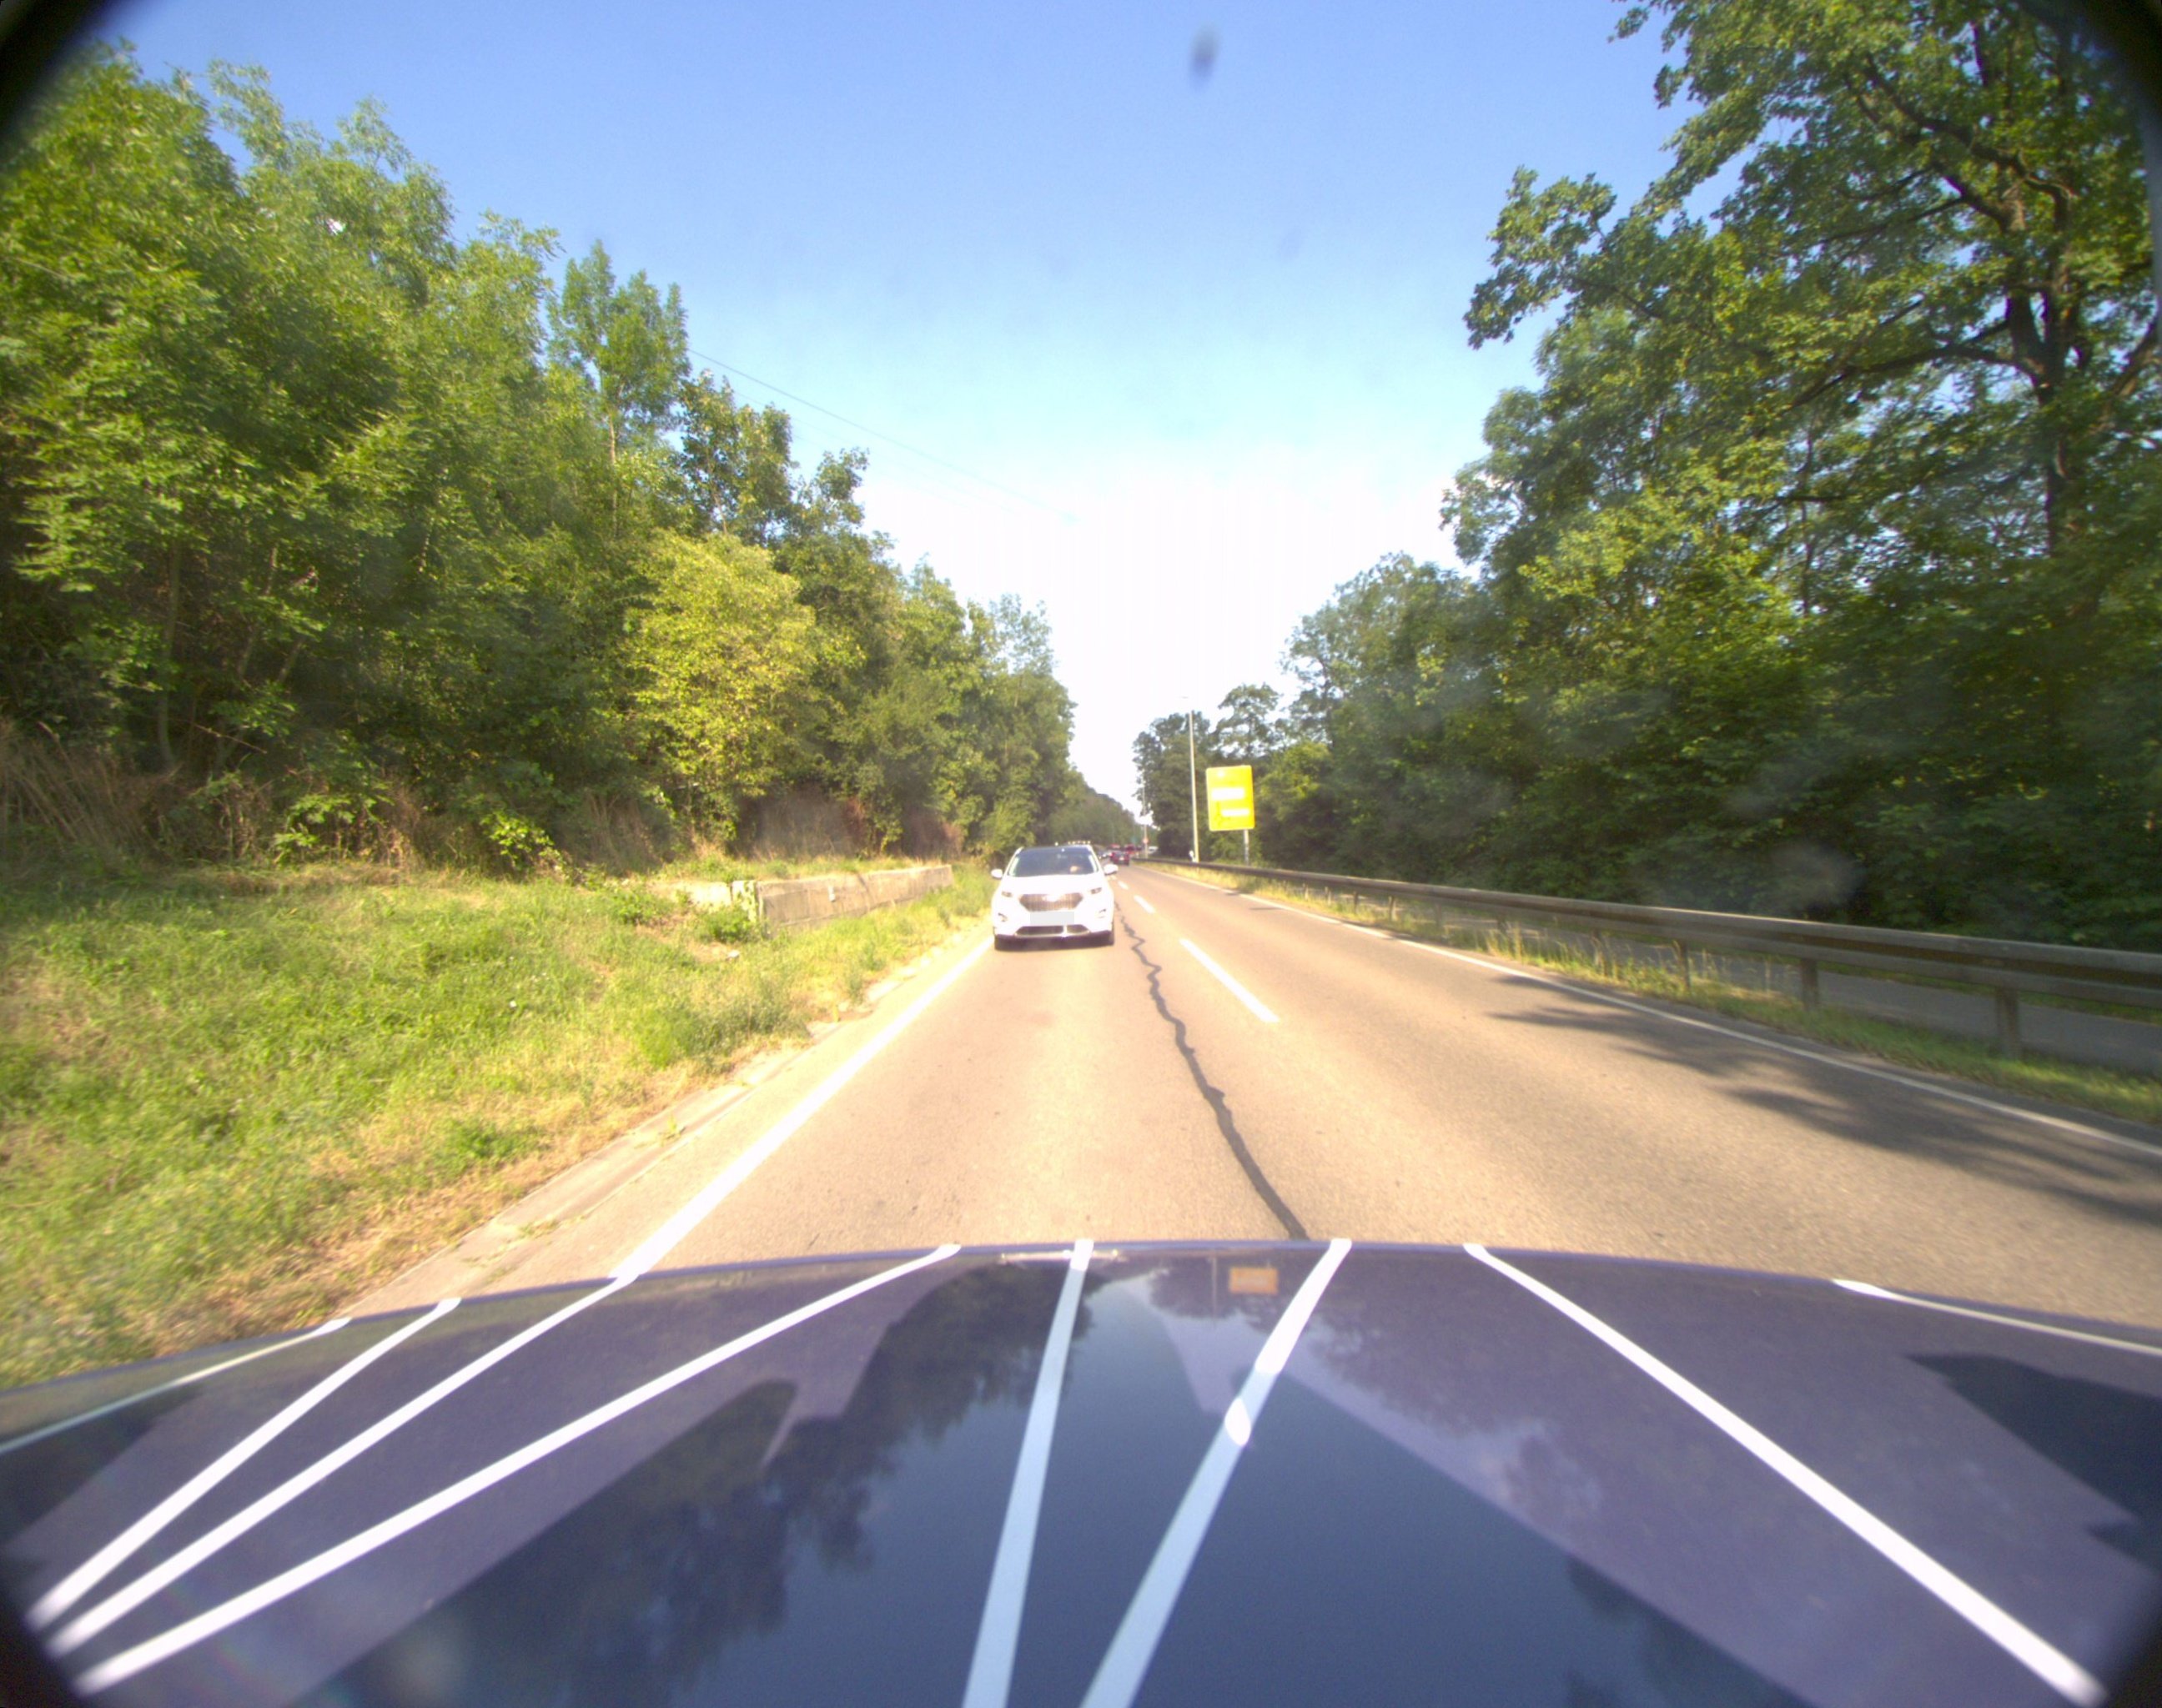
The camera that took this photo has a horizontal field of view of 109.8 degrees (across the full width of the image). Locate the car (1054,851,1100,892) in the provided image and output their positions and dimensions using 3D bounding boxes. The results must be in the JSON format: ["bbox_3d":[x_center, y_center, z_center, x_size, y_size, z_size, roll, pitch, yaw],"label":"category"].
[{"bbox_3d":[-0.111,0.658,31.241,1.704,1.477,4.136,-3,0,1],"label":"car"}]

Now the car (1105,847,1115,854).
[{"bbox_3d":[6.936,-0.904,180.916,1.997,1.647,4.002,-1,1,8],"label":"car"}]

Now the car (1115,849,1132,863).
[{"bbox_3d":[4.649,0.212,83.855,1.696,1.412,4.141,-1,1,2],"label":"car"}]

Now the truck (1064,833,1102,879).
[{"bbox_3d":[0.130,0.101,42.439,1.894,2.334,5.273,-3,0,1],"label":"truck"}]

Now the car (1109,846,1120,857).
[{"bbox_3d":[5.442,-0.387,122.745,1.752,1.707,4.221,-2,1,2],"label":"car"}]

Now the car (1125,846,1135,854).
[{"bbox_3d":[9.576,-0.853,148.487,1.686,1.434,4.000,-2,1,2],"label":"car"}]

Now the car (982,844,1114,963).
[{"bbox_3d":[-0.459,0.721,13.292,1.894,1.691,4.136,-2,0,1],"label":"car"}]

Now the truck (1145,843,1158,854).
[{"bbox_3d":[17.343,-1.280,187.078,2.060,2.371,5.877,-3,1,15],"label":"truck"}]
